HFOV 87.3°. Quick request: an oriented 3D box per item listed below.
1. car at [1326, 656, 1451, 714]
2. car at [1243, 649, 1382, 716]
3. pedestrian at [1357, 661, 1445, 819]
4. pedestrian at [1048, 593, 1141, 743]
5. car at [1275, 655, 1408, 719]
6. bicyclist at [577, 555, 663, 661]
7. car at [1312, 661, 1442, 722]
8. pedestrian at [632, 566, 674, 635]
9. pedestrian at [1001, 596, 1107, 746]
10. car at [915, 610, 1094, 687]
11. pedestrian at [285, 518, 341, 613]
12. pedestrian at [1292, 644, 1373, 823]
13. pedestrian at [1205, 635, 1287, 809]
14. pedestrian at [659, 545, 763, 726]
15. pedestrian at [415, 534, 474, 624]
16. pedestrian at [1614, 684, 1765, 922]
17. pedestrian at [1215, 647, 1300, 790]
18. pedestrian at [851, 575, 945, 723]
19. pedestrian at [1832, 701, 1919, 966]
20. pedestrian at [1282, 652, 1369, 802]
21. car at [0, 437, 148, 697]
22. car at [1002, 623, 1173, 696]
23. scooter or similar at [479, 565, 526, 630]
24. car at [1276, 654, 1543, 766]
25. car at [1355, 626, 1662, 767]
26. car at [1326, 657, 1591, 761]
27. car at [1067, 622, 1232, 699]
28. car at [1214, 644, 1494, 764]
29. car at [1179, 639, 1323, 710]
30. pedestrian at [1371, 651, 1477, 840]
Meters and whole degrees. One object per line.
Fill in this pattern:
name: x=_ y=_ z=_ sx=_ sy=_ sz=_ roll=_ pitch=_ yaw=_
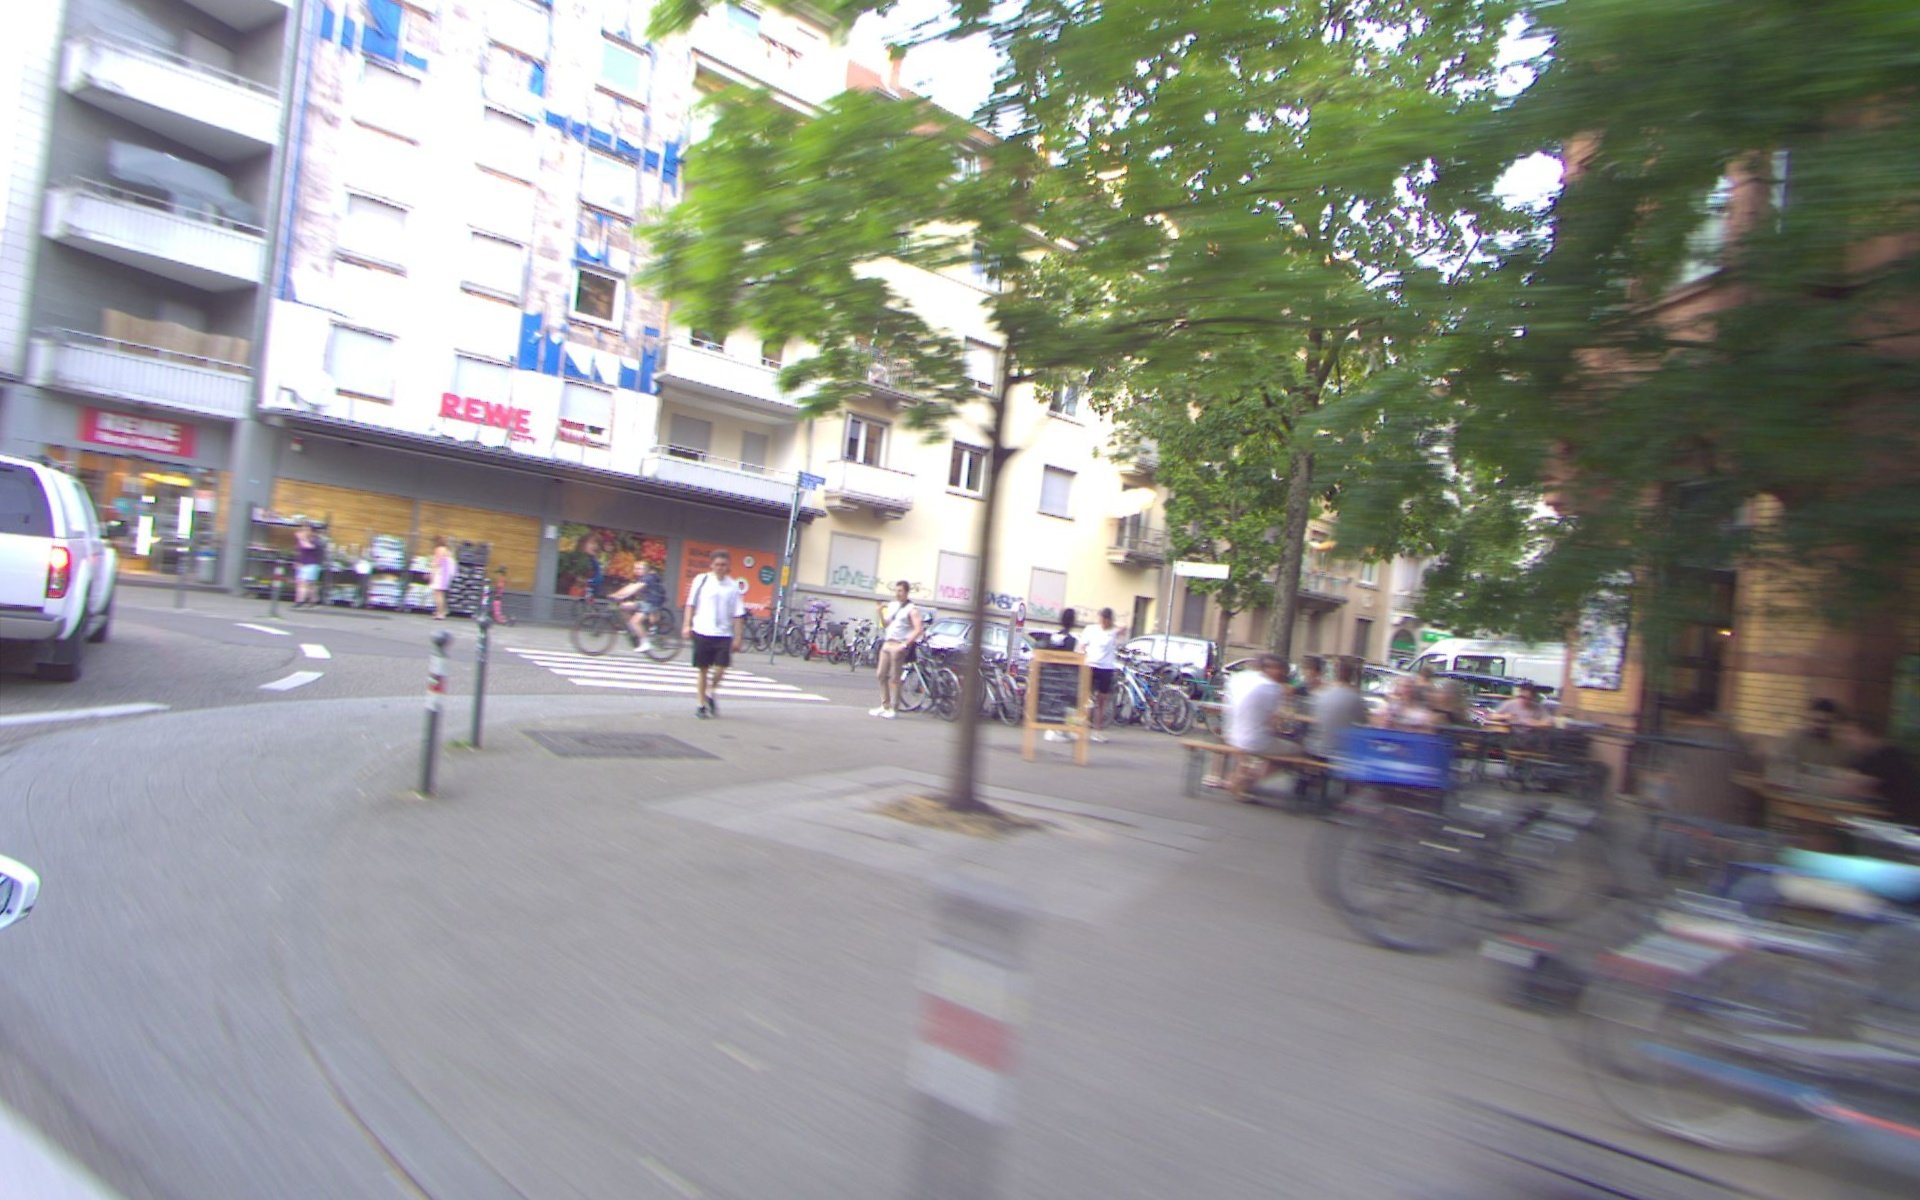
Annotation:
car: x=17.807 y=3.547 z=42.011 sx=4.459 sy=1.805 sz=2.002 roll=6 pitch=-2 yaw=17
car: x=12.666 y=2.976 z=36.464 sx=4.458 sy=1.805 sz=2.003 roll=6 pitch=-2 yaw=15
pedestrian: x=3.936 y=1.230 z=8.967 sx=0.564 sy=1.284 sz=0.546 roll=6 pitch=-2 yaw=29
pedestrian: x=1.798 y=0.900 z=13.352 sx=0.852 sy=1.849 sz=0.837 roll=6 pitch=-2 yaw=23
car: x=14.423 y=3.276 z=38.296 sx=4.459 sy=1.805 sz=2.002 roll=6 pitch=-2 yaw=17
bicyclist: x=-5.963 y=0.141 z=17.664 sx=0.780 sy=1.709 sz=0.993 roll=7 pitch=0 yaw=41
car: x=16.422 y=3.599 z=39.869 sx=4.459 sy=1.805 sz=2.002 roll=6 pitch=-2 yaw=17
pedestrian: x=-7.558 y=0.013 z=24.753 sx=0.660 sy=1.619 sz=0.712 roll=8 pitch=-2 yaw=-32
pedestrian: x=1.164 y=0.870 z=12.600 sx=0.826 sy=1.743 sz=0.864 roll=7 pitch=-2 yaw=-24
car: x=1.257 y=1.340 z=27.713 sx=4.458 sy=1.543 sz=2.003 roll=6 pitch=-2 yaw=16
pedestrian: x=-12.273 y=-0.649 z=19.091 sx=0.712 sy=1.671 sz=0.707 roll=8 pitch=-2 yaw=-34
pedestrian: x=3.129 y=1.103 z=8.436 sx=0.458 sy=1.396 sz=0.546 roll=6 pitch=-2 yaw=26
pedestrian: x=2.469 y=1.032 z=8.659 sx=0.458 sy=1.396 sz=0.546 roll=6 pitch=-2 yaw=26
pedestrian: x=-2.687 y=0.385 z=10.948 sx=0.854 sy=1.790 sz=0.947 roll=7 pitch=-2 yaw=-12
pedestrian: x=-10.655 y=-0.427 z=20.808 sx=0.657 sy=1.746 sz=0.719 roll=5 pitch=-2 yaw=40
pedestrian: x=4.792 y=1.293 z=6.646 sx=0.504 sy=1.425 sz=0.640 roll=6 pitch=-2 yaw=16
pedestrian: x=2.904 y=1.144 z=9.809 sx=0.564 sy=1.284 sz=0.546 roll=6 pitch=-2 yaw=29
pedestrian: x=-0.827 y=0.663 z=13.605 sx=0.852 sy=1.849 sz=0.838 roll=6 pitch=-2 yaw=14
pedestrian: x=5.515 y=1.327 z=5.758 sx=0.504 sy=1.425 sz=0.555 roll=6 pitch=-2 yaw=16
pedestrian: x=3.399 y=1.168 z=9.352 sx=0.564 sy=1.284 sz=0.546 roll=6 pitch=-2 yaw=29
car: x=-8.726 y=-0.473 z=8.916 sx=1.928 sy=1.831 sz=4.951 roll=8 pitch=-1 yaw=-36
car: x=3.682 y=1.725 z=29.494 sx=4.478 sy=1.543 sz=1.994 roll=5 pitch=-3 yaw=38
scooter or similar: x=-9.915 y=-0.062 z=21.790 sx=1.271 sy=1.281 sz=0.320 roll=8 pitch=0 yaw=43
car: x=8.577 y=2.076 z=19.537 sx=1.894 sy=1.543 sz=4.254 roll=8 pitch=-3 yaw=-35
car: x=12.171 y=2.076 z=22.705 sx=2.229 sy=2.448 sz=5.485 roll=8 pitch=-3 yaw=-39
car: x=10.317 y=2.227 z=21.137 sx=1.983 sy=1.543 sz=4.503 roll=8 pitch=-3 yaw=-35
car: x=5.840 y=1.865 z=31.049 sx=4.466 sy=1.805 sz=1.999 roll=6 pitch=-2 yaw=28
car: x=6.948 y=1.807 z=18.148 sx=1.894 sy=1.543 sz=4.254 roll=8 pitch=-3 yaw=-35
car: x=9.907 y=2.535 z=34.516 sx=4.458 sy=1.805 sz=2.003 roll=6 pitch=-2 yaw=15
pedestrian: x=3.736 y=1.151 z=8.086 sx=0.565 sy=1.396 sz=0.545 roll=6 pitch=-2 yaw=35
